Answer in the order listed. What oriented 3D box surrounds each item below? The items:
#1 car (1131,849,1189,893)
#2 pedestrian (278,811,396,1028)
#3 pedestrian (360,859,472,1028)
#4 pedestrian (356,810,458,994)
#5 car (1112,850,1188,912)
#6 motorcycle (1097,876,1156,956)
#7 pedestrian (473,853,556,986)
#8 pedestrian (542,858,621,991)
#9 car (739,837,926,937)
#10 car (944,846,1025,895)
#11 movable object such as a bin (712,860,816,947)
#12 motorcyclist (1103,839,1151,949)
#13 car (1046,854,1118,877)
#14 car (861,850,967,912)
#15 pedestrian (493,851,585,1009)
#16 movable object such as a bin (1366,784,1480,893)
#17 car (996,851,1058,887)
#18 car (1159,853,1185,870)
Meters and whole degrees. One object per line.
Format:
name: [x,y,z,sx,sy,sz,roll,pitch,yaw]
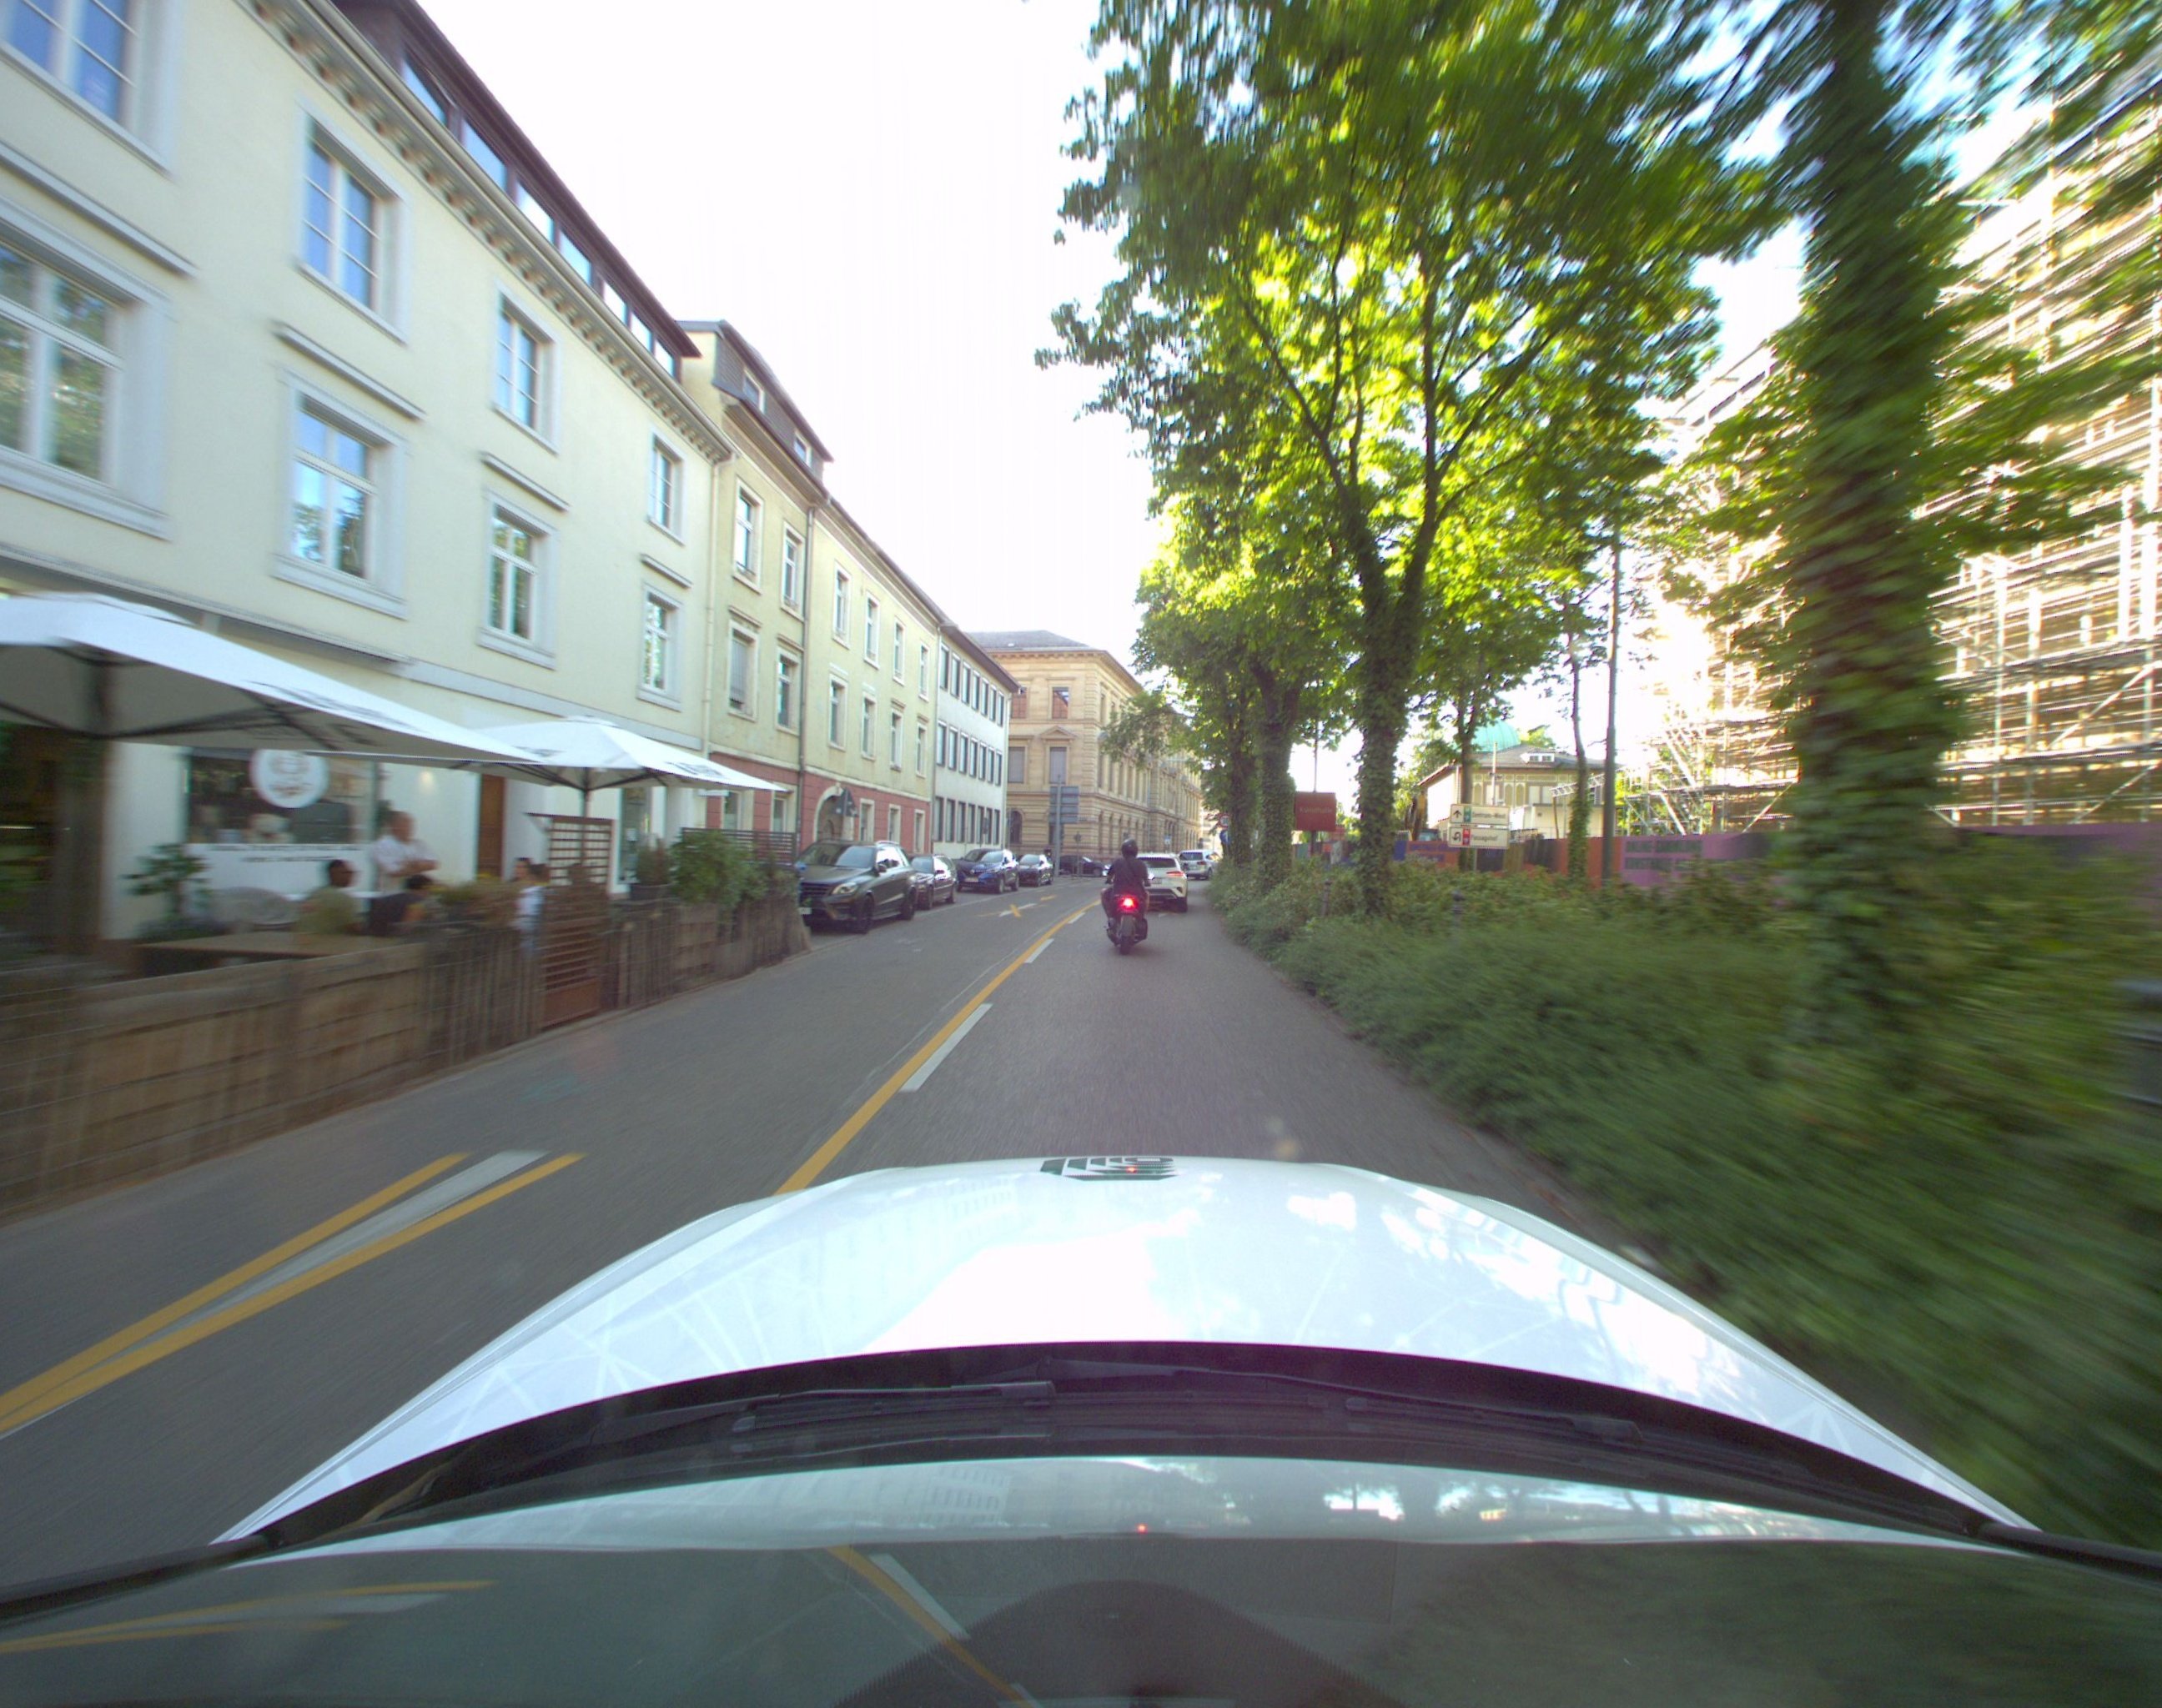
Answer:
car: [3.070,0.609,30.927,1.829,1.463,4.068,3,0,10]
pedestrian: [-6.377,0.538,6.993,0.592,1.775,0.440,2,0,10]
pedestrian: [-5.725,0.747,7.027,0.521,1.391,0.488,2,0,-1]
pedestrian: [-6.775,0.460,8.204,0.434,1.775,0.600,2,0,15]
car: [1.931,0.652,21.759,1.840,1.480,4.066,0,0,7]
motorcycle: [0.711,0.910,12.529,0.793,1.066,1.727,3,0,4]
pedestrian: [-6.153,0.693,8.864,0.521,1.391,0.488,2,0,-1]
pedestrian: [-5.419,0.745,8.854,0.521,1.391,0.488,2,0,-1]
car: [-4.701,0.556,16.296,1.913,1.679,4.791,1,0,4]
car: [-3.517,0.582,30.474,1.923,1.667,4.357,1,0,8]
movable object such as a bin: [-5.036,0.767,13.000,1.209,1.295,0.932,1,0,7]
motorcyclist: [0.716,0.604,12.708,0.654,1.650,0.651,3,0,3]
car: [0.093,0.723,52.359,4.280,1.390,1.784,1,0,17]
car: [-4.424,0.657,22.244,1.645,1.480,4.433,1,0,4]
pedestrian: [-5.124,0.694,7.720,0.468,1.433,0.503,2,0,7]
movable object such as a bin: [15.822,-0.678,38.391,3.286,4.539,7.928,1,0,10]
car: [-2.413,0.645,37.600,1.814,1.503,4.771,3,0,8]
car: [8.542,0.709,75.899,1.980,1.528,4.198,1,0,12]
